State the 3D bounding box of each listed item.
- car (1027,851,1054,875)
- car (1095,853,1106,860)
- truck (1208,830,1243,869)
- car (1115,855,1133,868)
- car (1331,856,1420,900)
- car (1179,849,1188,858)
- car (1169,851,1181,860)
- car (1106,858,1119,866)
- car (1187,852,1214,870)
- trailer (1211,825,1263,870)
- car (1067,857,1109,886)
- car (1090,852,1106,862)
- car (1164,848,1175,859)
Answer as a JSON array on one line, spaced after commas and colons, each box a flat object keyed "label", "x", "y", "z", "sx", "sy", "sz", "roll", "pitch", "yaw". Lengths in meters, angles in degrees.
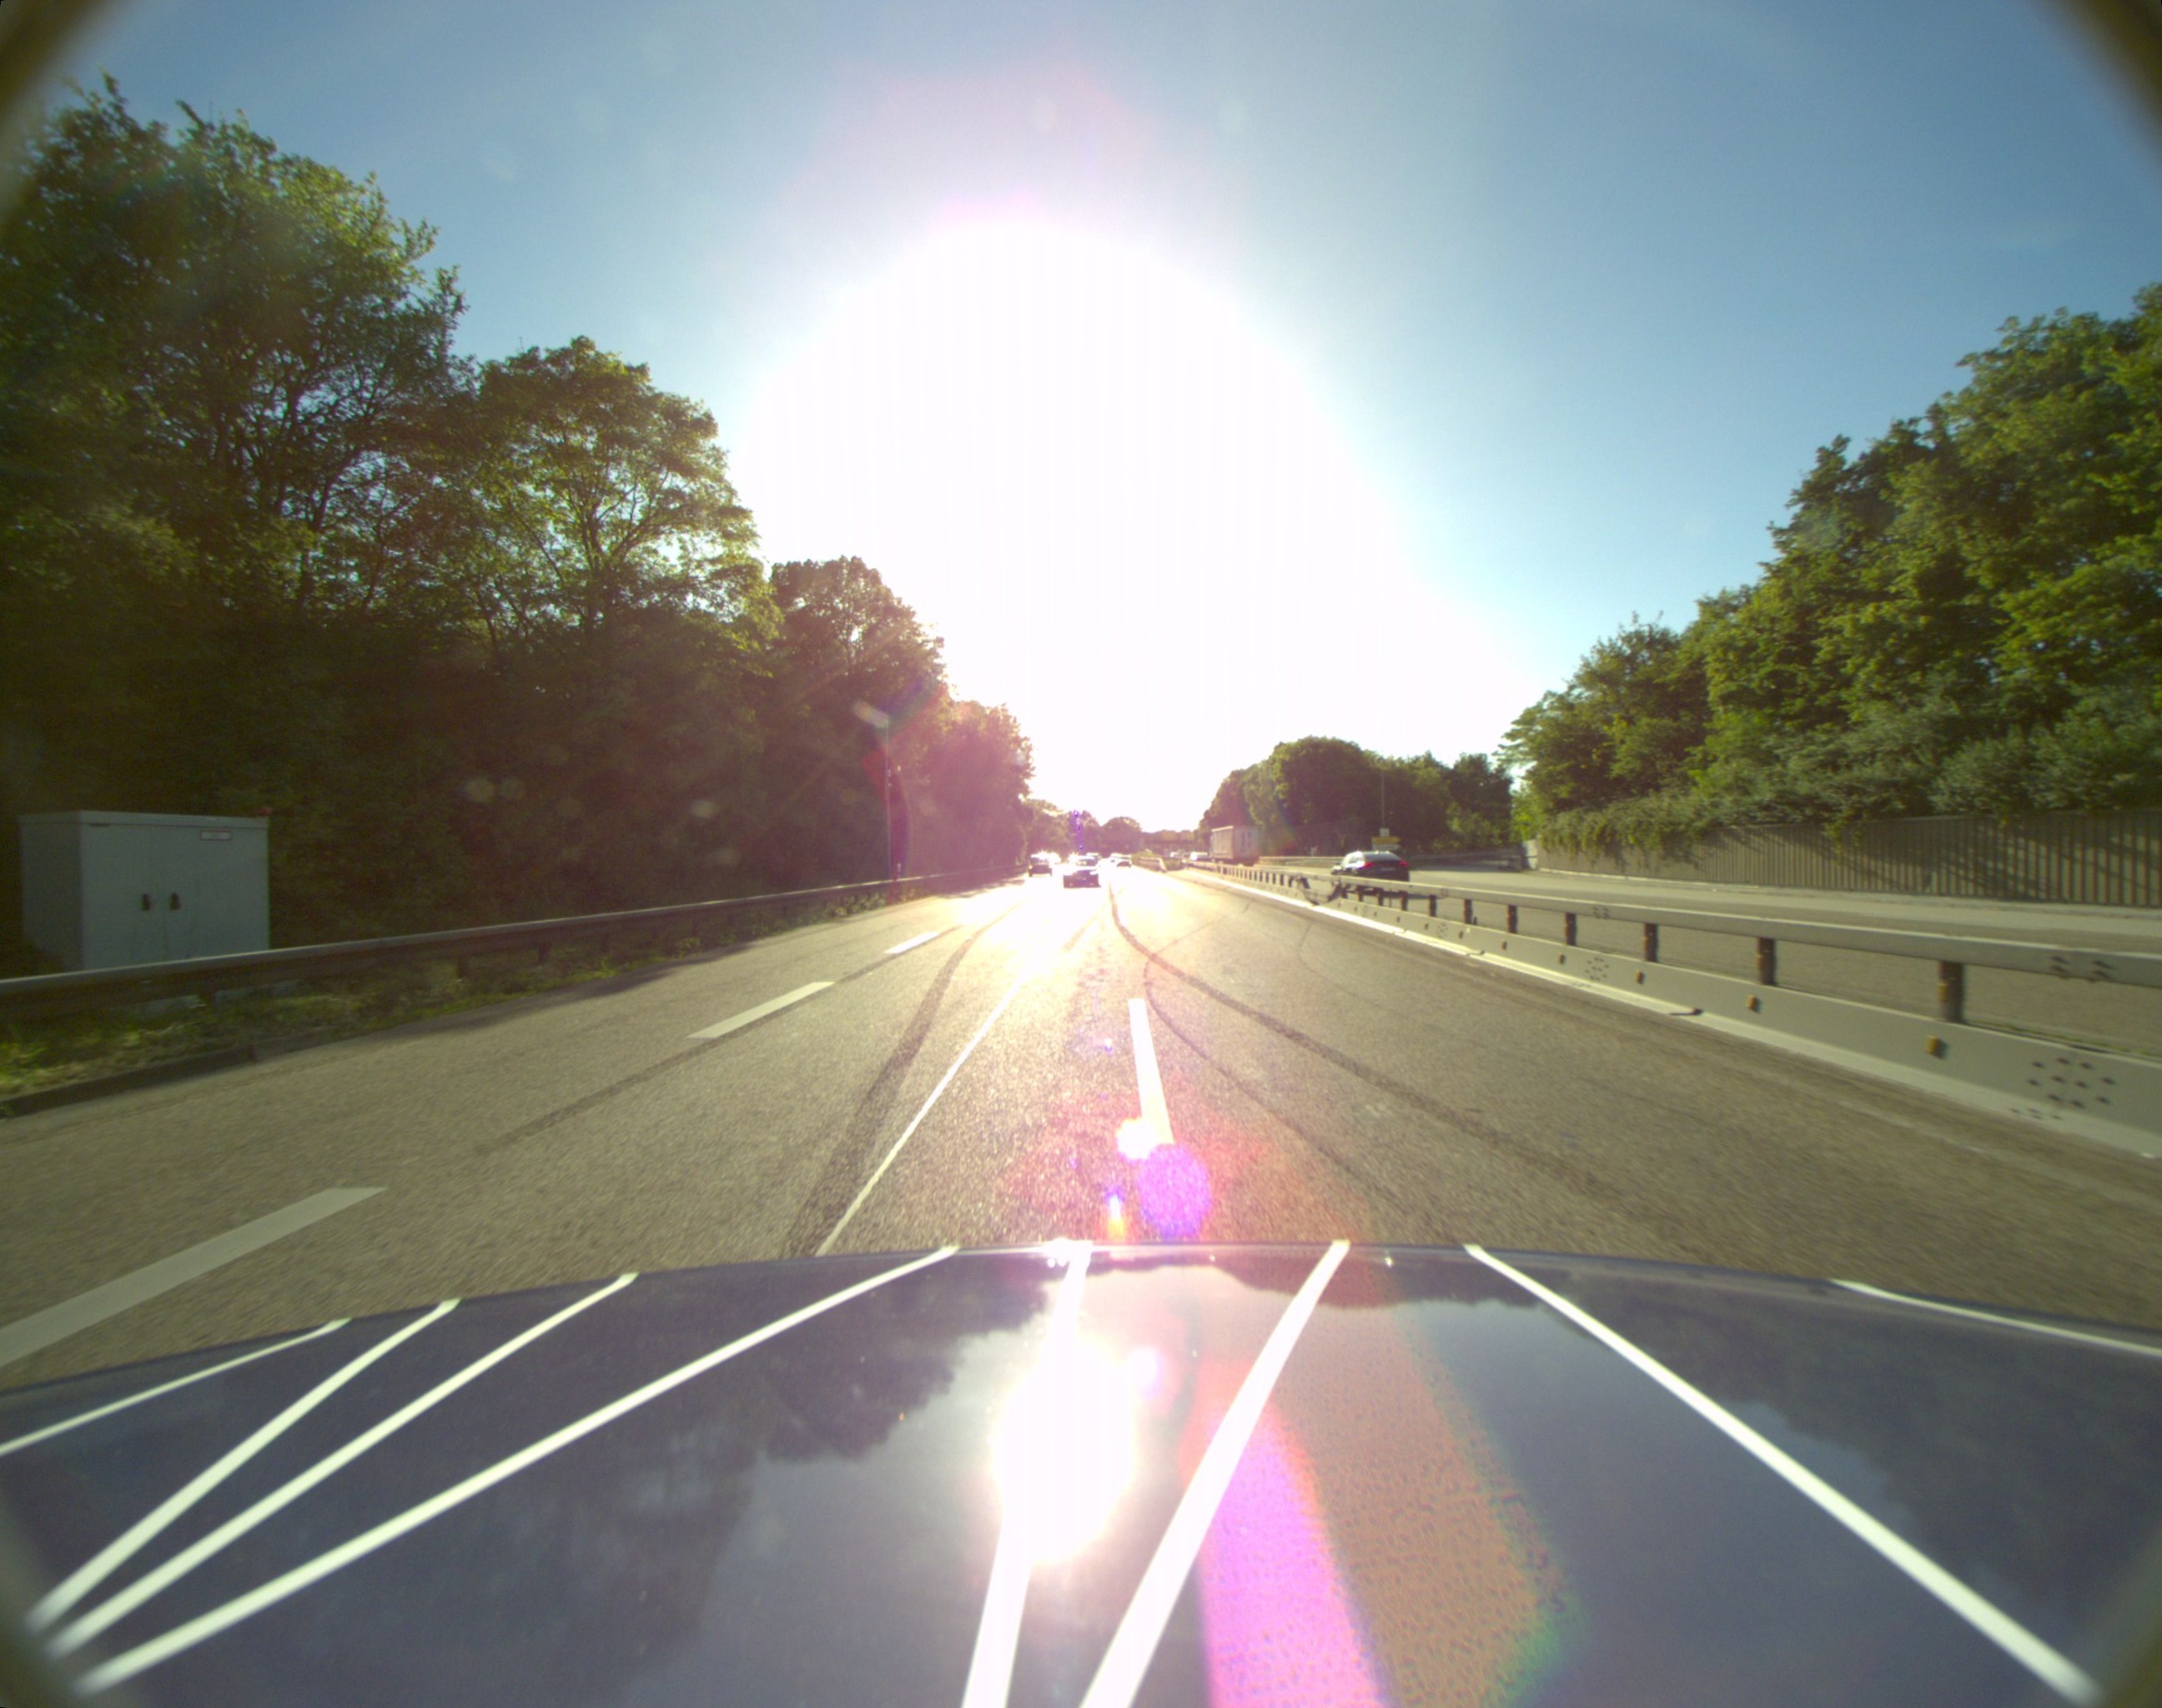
[{"label": "car", "x": -2.958, "y": 0.683, "z": 56.521, "sx": 1.746, "sy": 1.652, "sz": 4.000, "roll": -2, "pitch": -1, "yaw": -1}, {"label": "car", "x": 4.023, "y": 0.454, "z": 154.663, "sx": 1.998, "sy": 1.406, "sz": 4.833, "roll": -1, "pitch": 0, "yaw": 4}, {"label": "truck", "x": 16.417, "y": -0.445, "z": 86.524, "sx": 2.742, "sy": 4.236, "sz": 6.388, "roll": -2, "pitch": -1, "yaw": 1}, {"label": "car", "x": 4.984, "y": 0.822, "z": 88.086, "sx": 1.998, "sy": 1.406, "sz": 4.832, "roll": -1, "pitch": 0, "yaw": 4}, {"label": "car", "x": 10.757, "y": 0.842, "z": 28.057, "sx": 1.998, "sy": 1.477, "sz": 4.202, "roll": -1, "pitch": -1, "yaw": 6}, {"label": "car", "x": 26.681, "y": -0.164, "z": 198.744, "sx": 2.081, "sy": 2.267, "sz": 5.377, "roll": -2, "pitch": -1, "yaw": 6}, {"label": "car", "x": 18.538, "y": 0.297, "z": 150.212, "sx": 1.998, "sy": 1.772, "sz": 4.786, "roll": -2, "pitch": -1, "yaw": 3}, {"label": "car", "x": 5.282, "y": 1.324, "z": 126.045, "sx": 1.998, "sy": 1.406, "sz": 4.833, "roll": -1, "pitch": 0, "yaw": 5}, {"label": "car", "x": 11.733, "y": 0.714, "z": 74.942, "sx": 1.998, "sy": 1.648, "sz": 4.940, "roll": -2, "pitch": -1, "yaw": 2}, {"label": "trailer", "x": 16.228, "y": -0.558, "z": 80.176, "sx": 2.754, "sy": 4.254, "sz": 14.087, "roll": -2, "pitch": -1, "yaw": 1}, {"label": "car", "x": 0.447, "y": 0.907, "z": 40.414, "sx": 1.998, "sy": 1.406, "sz": 4.832, "roll": 0, "pitch": 0, "yaw": 4}, {"label": "car", "x": 2.484, "y": 0.485, "z": 109.235, "sx": 1.998, "sy": 1.406, "sz": 4.833, "roll": -1, "pitch": 0, "yaw": 5}, {"label": "car", "x": 20.794, "y": -0.097, "z": 178.677, "sx": 2.152, "sy": 2.595, "sz": 6.053, "roll": -2, "pitch": -1, "yaw": 2}]
